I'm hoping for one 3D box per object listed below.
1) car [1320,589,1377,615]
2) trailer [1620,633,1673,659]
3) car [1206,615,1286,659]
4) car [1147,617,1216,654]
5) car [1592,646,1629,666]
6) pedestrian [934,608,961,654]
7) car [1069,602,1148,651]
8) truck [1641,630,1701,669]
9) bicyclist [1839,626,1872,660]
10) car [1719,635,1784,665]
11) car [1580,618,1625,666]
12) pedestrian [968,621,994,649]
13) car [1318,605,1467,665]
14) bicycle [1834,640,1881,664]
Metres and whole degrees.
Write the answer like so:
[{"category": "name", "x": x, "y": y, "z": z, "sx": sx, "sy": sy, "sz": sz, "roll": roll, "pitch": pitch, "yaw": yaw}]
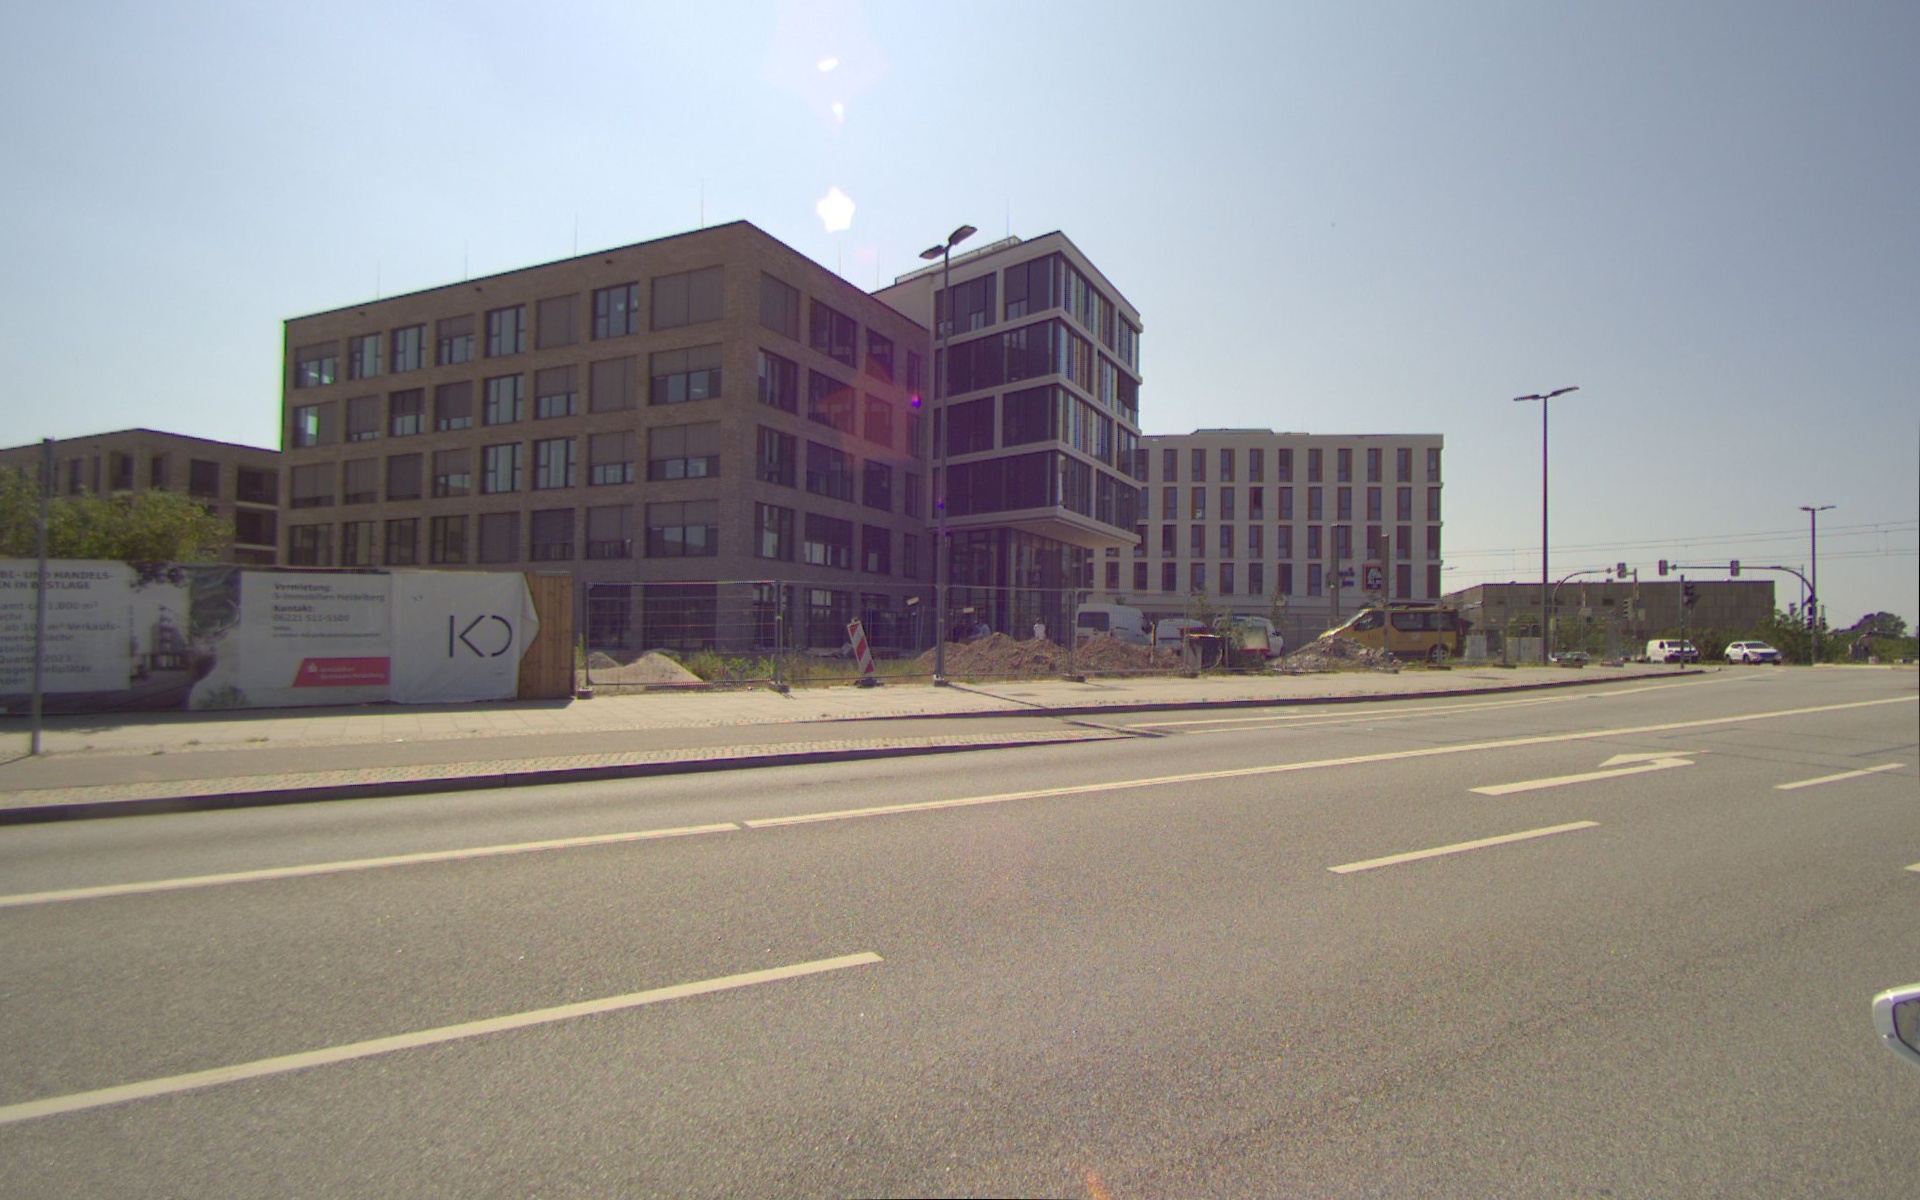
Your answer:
[{"category": "car", "x": 32.208, "y": 0.120, "z": 83.281, "sx": 1.986, "sy": 2.040, "sz": 3.949, "roll": 2, "pitch": 0, "yaw": -43}, {"category": "trailer", "x": 52.776, "y": 3.496, "z": 77.352, "sx": 1.960, "sy": 1.799, "sz": 4.288, "roll": 2, "pitch": 0, "yaw": 14}, {"category": "car", "x": 12.520, "y": 1.568, "z": 43.781, "sx": 1.968, "sy": 1.730, "sz": 4.547, "roll": 2, "pitch": 0, "yaw": 34}, {"category": "car", "x": 10.006, "y": 1.570, "z": 45.178, "sx": 1.774, "sy": 1.528, "sz": 3.991, "roll": 2, "pitch": 0, "yaw": 32}, {"category": "car", "x": 54.227, "y": 4.653, "z": 83.824, "sx": 1.633, "sy": 1.408, "sz": 3.788, "roll": 2, "pitch": 0, "yaw": 18}, {"category": "pedestrian", "x": -0.569, "y": 1.382, "z": 44.930, "sx": 0.949, "sy": 2.040, "sz": 0.940, "roll": 2, "pitch": 0, "yaw": -16}, {"category": "car", "x": 6.911, "y": 1.202, "z": 46.296, "sx": 2.175, "sy": 2.083, "sz": 4.164, "roll": 2, "pitch": 0, "yaw": 30}, {"category": "truck", "x": 51.647, "y": 3.540, "z": 73.045, "sx": 1.960, "sy": 2.574, "sz": 4.711, "roll": 1, "pitch": -1, "yaw": 14}, {"category": "bicyclist", "x": 45.520, "y": 2.176, "z": 51.058, "sx": 0.931, "sy": 1.631, "sz": 0.773, "roll": 2, "pitch": 0, "yaw": -6}, {"category": "car", "x": 53.678, "y": 3.340, "z": 68.207, "sx": 1.892, "sy": 1.839, "sz": 4.049, "roll": 1, "pitch": -1, "yaw": 13}, {"category": "car", "x": 29.588, "y": 1.893, "z": 46.263, "sx": 1.647, "sy": 2.040, "sz": 3.990, "roll": 2, "pitch": 0, "yaw": 33}, {"category": "pedestrian", "x": 1.064, "y": 1.766, "z": 51.029, "sx": 1.098, "sy": 1.391, "sz": 0.742, "roll": 2, "pitch": 0, "yaw": -17}, {"category": "car", "x": 15.060, "y": 1.187, "z": 35.221, "sx": 4.395, "sy": 1.915, "sz": 2.001, "roll": 2, "pitch": 0, "yaw": 9}, {"category": "bicycle", "x": 45.536, "y": 2.638, "z": 50.987, "sx": 0.567, "sy": 1.082, "sz": 1.870, "roll": 2, "pitch": 0, "yaw": -6}]
